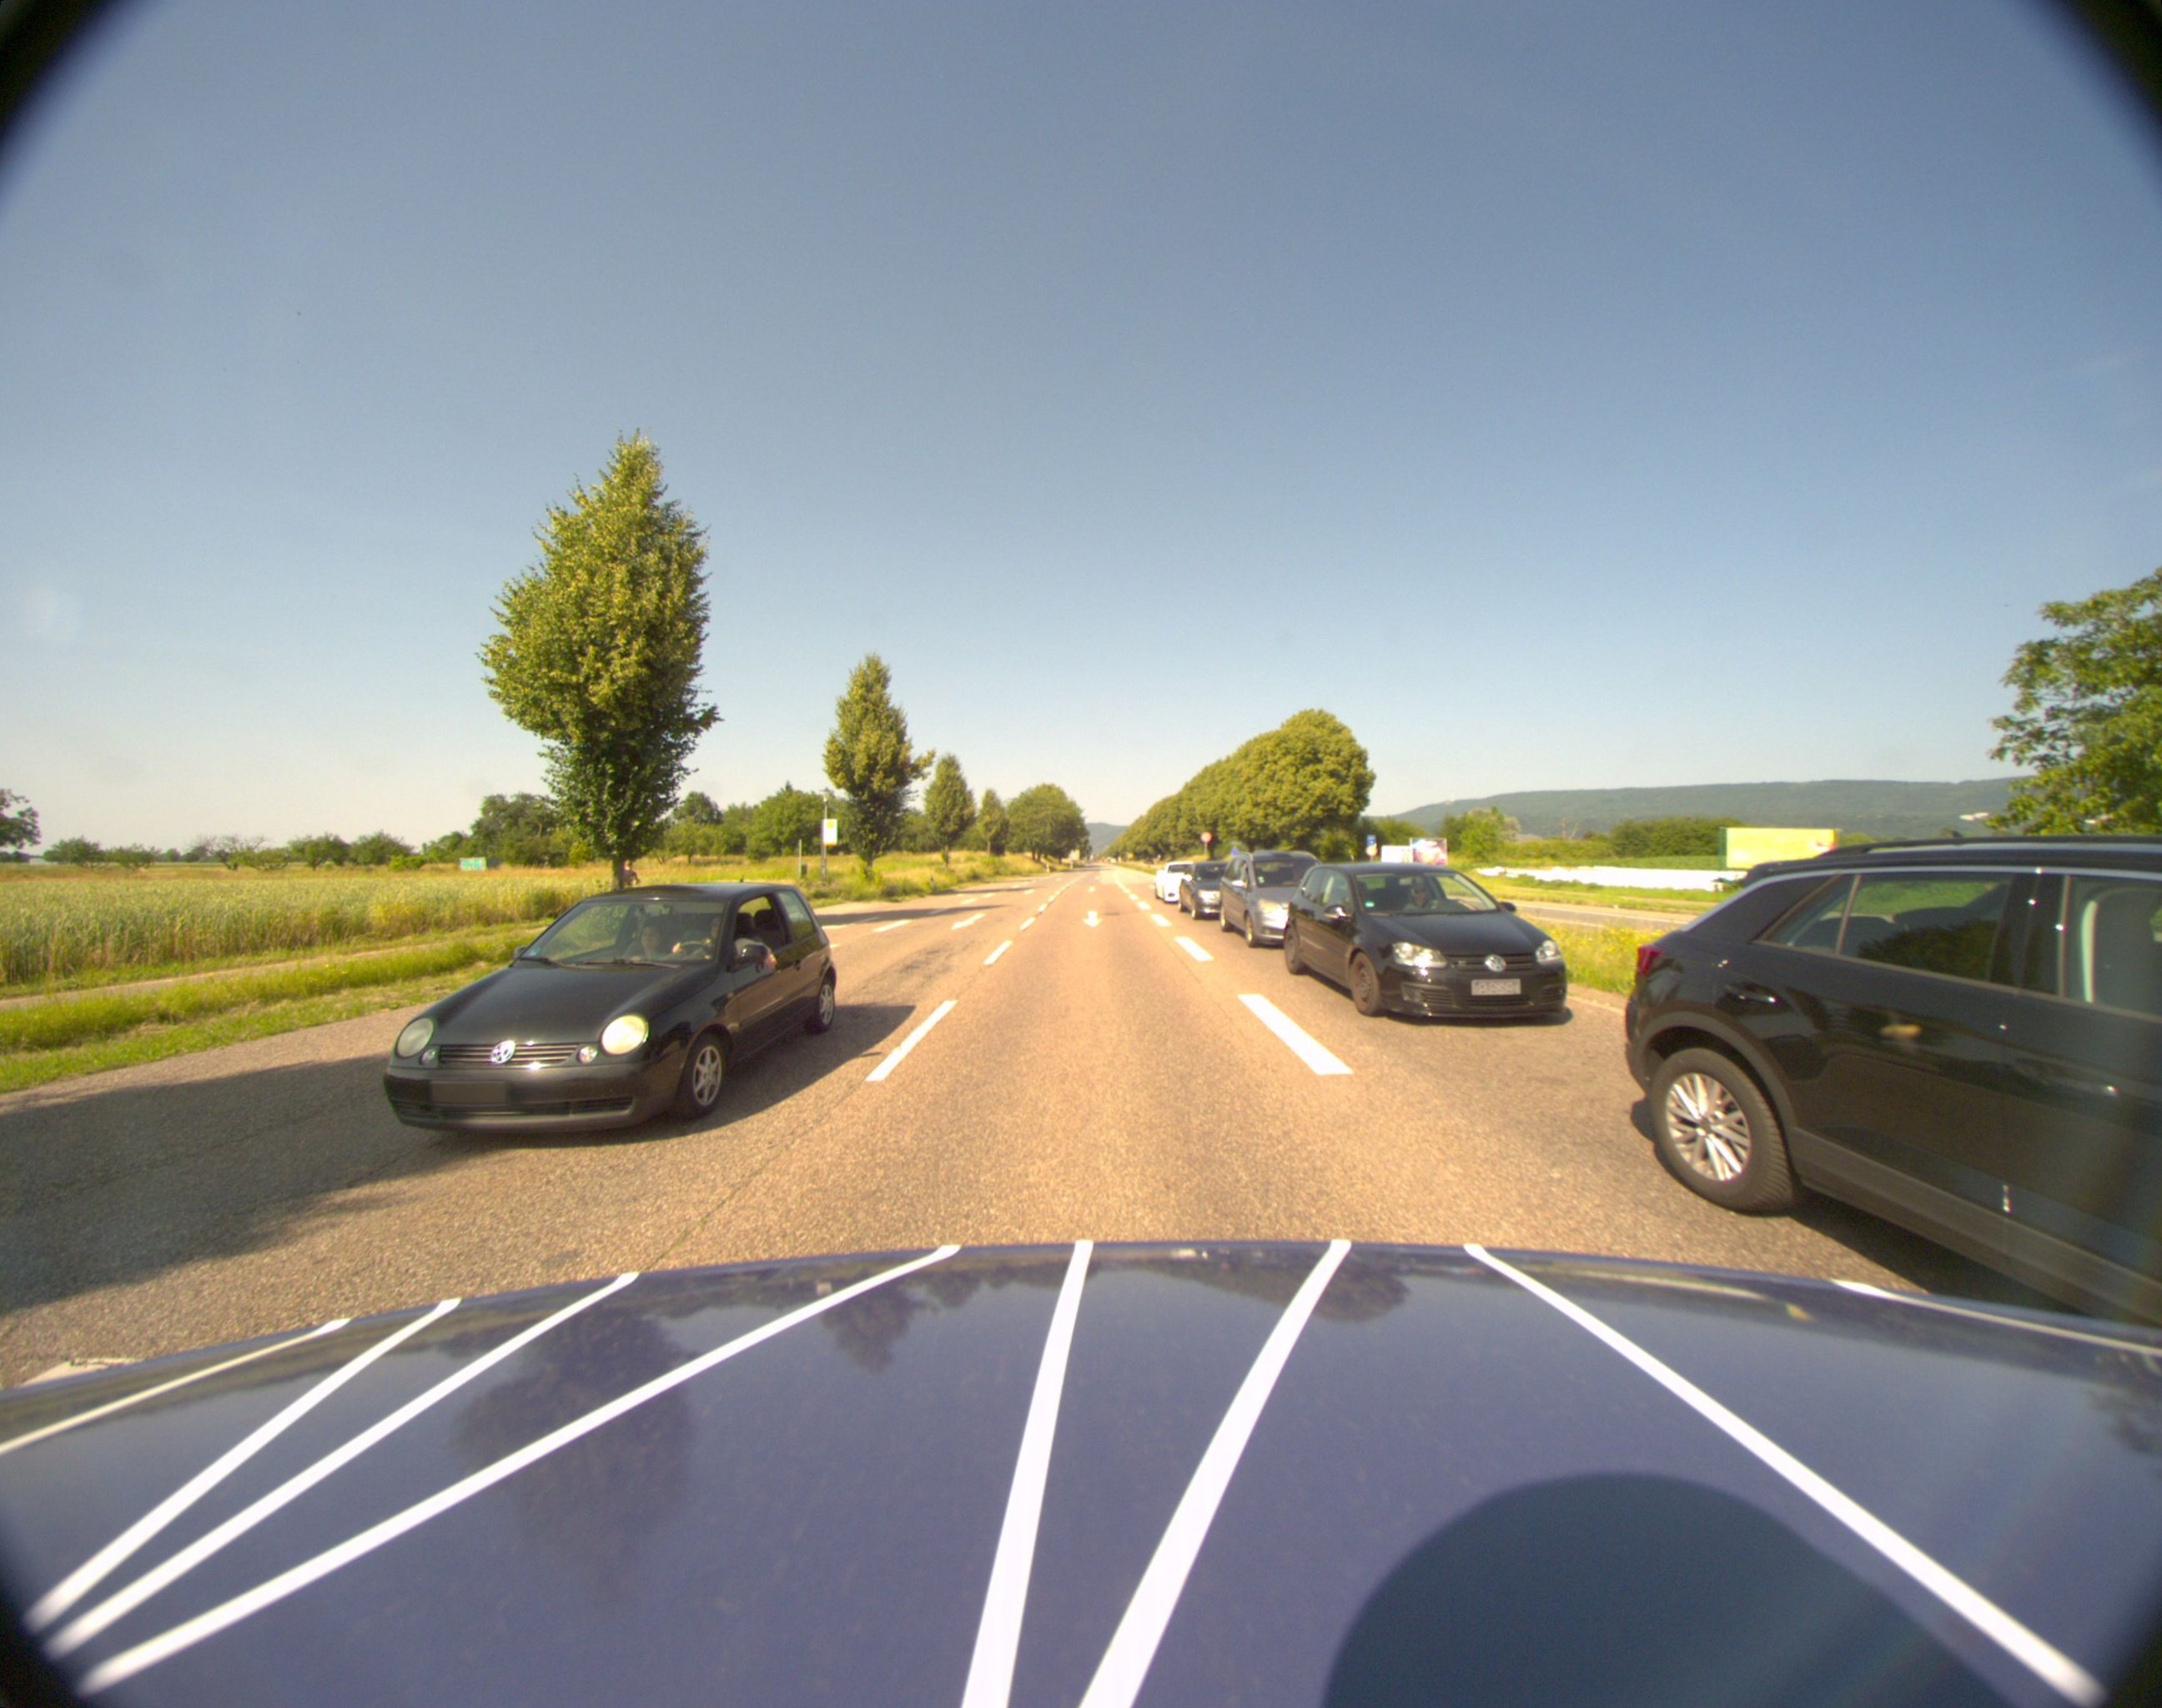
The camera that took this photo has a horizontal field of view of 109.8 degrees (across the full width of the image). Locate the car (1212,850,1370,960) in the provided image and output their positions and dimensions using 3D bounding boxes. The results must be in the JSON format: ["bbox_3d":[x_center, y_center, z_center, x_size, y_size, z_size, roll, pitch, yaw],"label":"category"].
[{"bbox_3d":[3.612,0.799,13.903,1.745,1.662,4.357,-1,0,1],"label":"car"}]

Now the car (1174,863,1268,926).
[{"bbox_3d":[3.547,0.976,19.968,1.718,1.402,4.355,-1,0,1],"label":"car"}]

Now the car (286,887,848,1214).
[{"bbox_3d":[-3.110,1.056,5.594,1.629,1.425,3.622,-2,0,0],"label":"car"}]

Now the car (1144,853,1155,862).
[{"bbox_3d":[15.749,0.772,175.291,1.998,1.830,4.954,2,0,1],"label":"car"}]

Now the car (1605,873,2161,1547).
[{"bbox_3d":[3.428,0.868,1.703,1.733,1.538,4.098,-1,0,1],"label":"car"}]

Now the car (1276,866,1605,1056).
[{"bbox_3d":[3.445,0.904,8.221,1.670,1.466,4.098,-1,0,1],"label":"car"}]

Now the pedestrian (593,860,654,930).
[{"bbox_3d":[-12.303,1.071,20.481,0.904,1.828,1.194,0,0,-1],"label":"pedestrian"}]

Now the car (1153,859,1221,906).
[{"bbox_3d":[3.657,0.939,26.926,1.808,1.417,4.641,-1,0,1],"label":"car"}]
